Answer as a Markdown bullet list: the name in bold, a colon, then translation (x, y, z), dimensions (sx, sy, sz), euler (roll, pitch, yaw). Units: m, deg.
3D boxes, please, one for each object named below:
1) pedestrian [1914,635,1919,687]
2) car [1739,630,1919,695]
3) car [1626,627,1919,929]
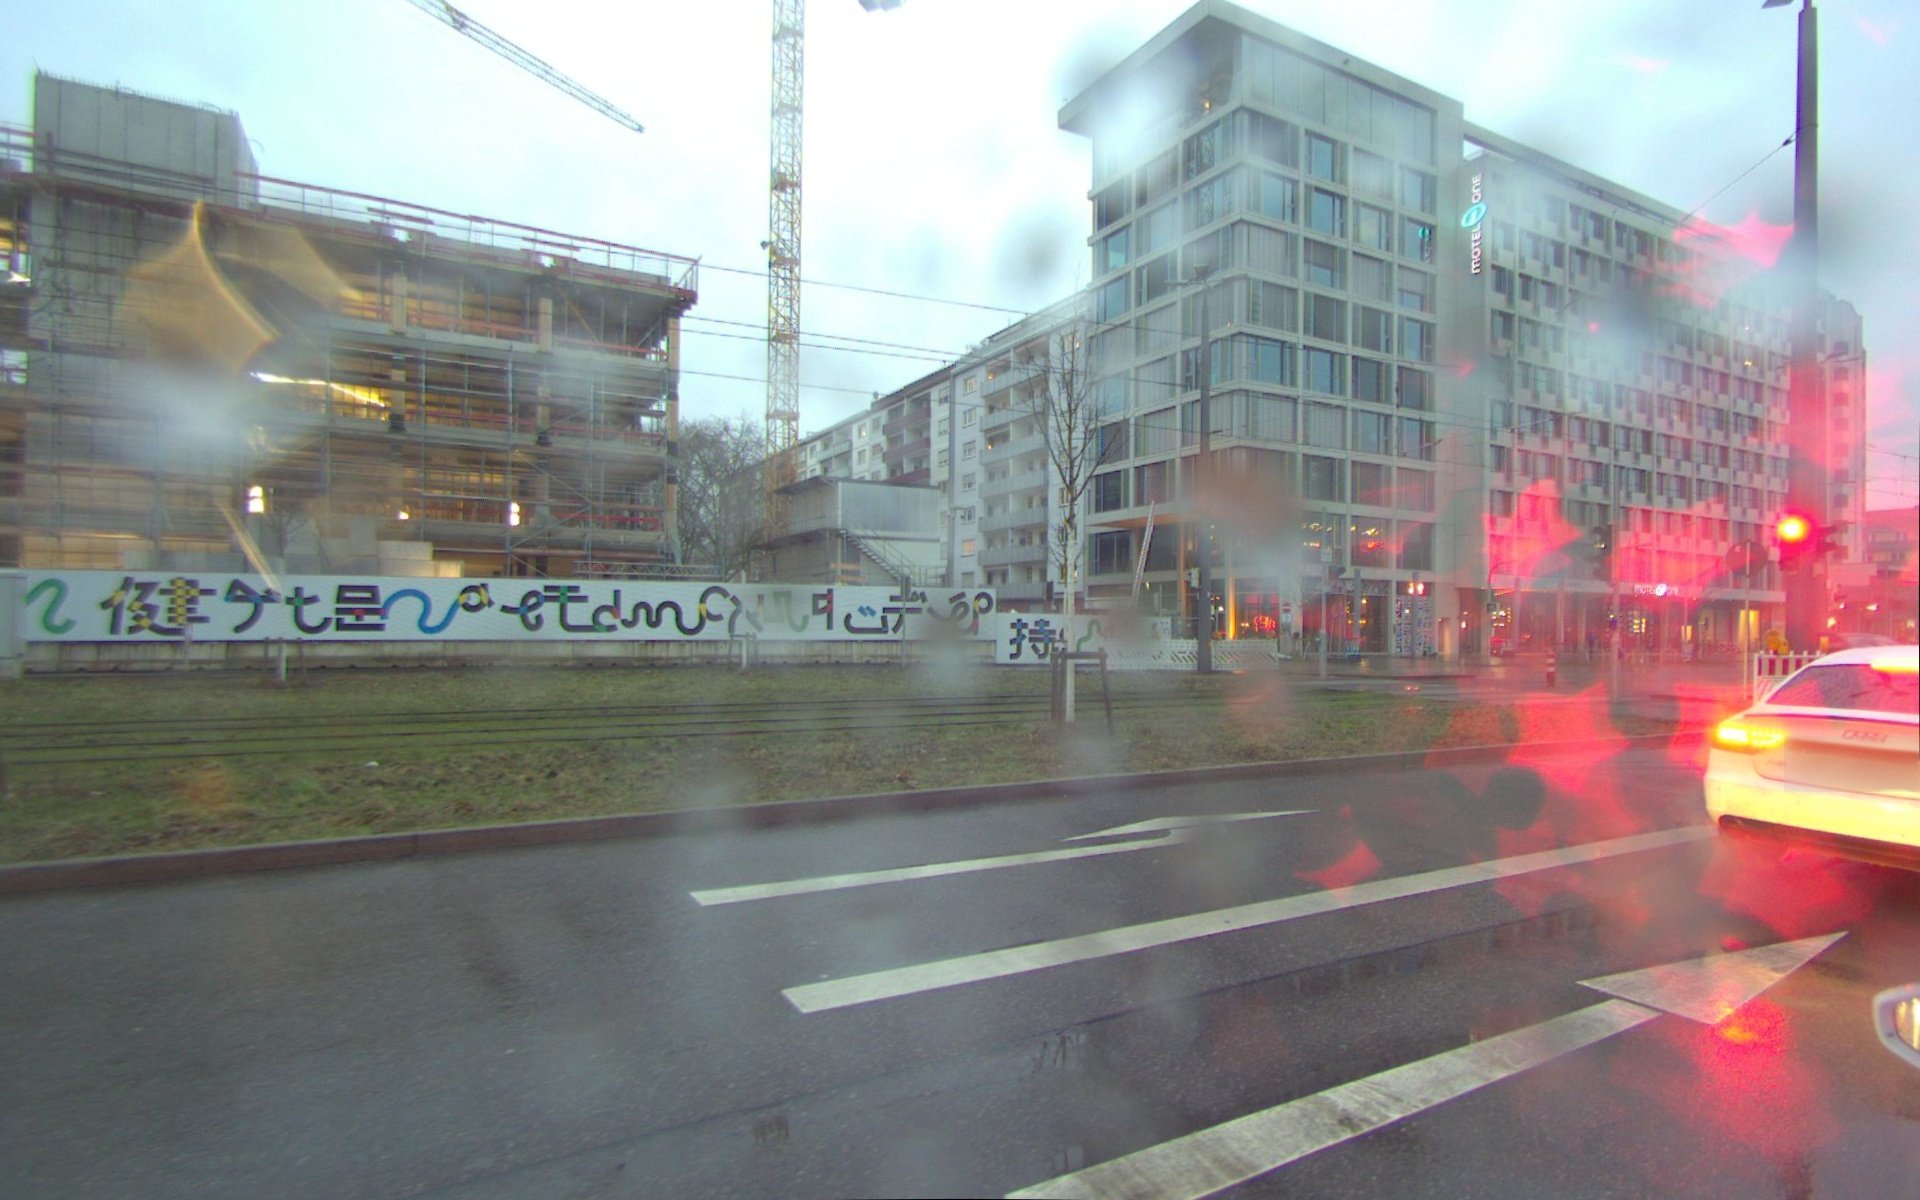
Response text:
- **pedestrian**: translation (33.142, 2.097, 34.290), dimensions (0.808, 1.734, 0.782), euler (2, 0, -45)
- **car**: translation (25.043, 1.724, 28.510), dimensions (1.738, 1.550, 4.302), euler (2, 0, -23)
- **car**: translation (6.420, 0.942, 6.456), dimensions (4.320, 1.475, 1.983), euler (1, -1, -32)
